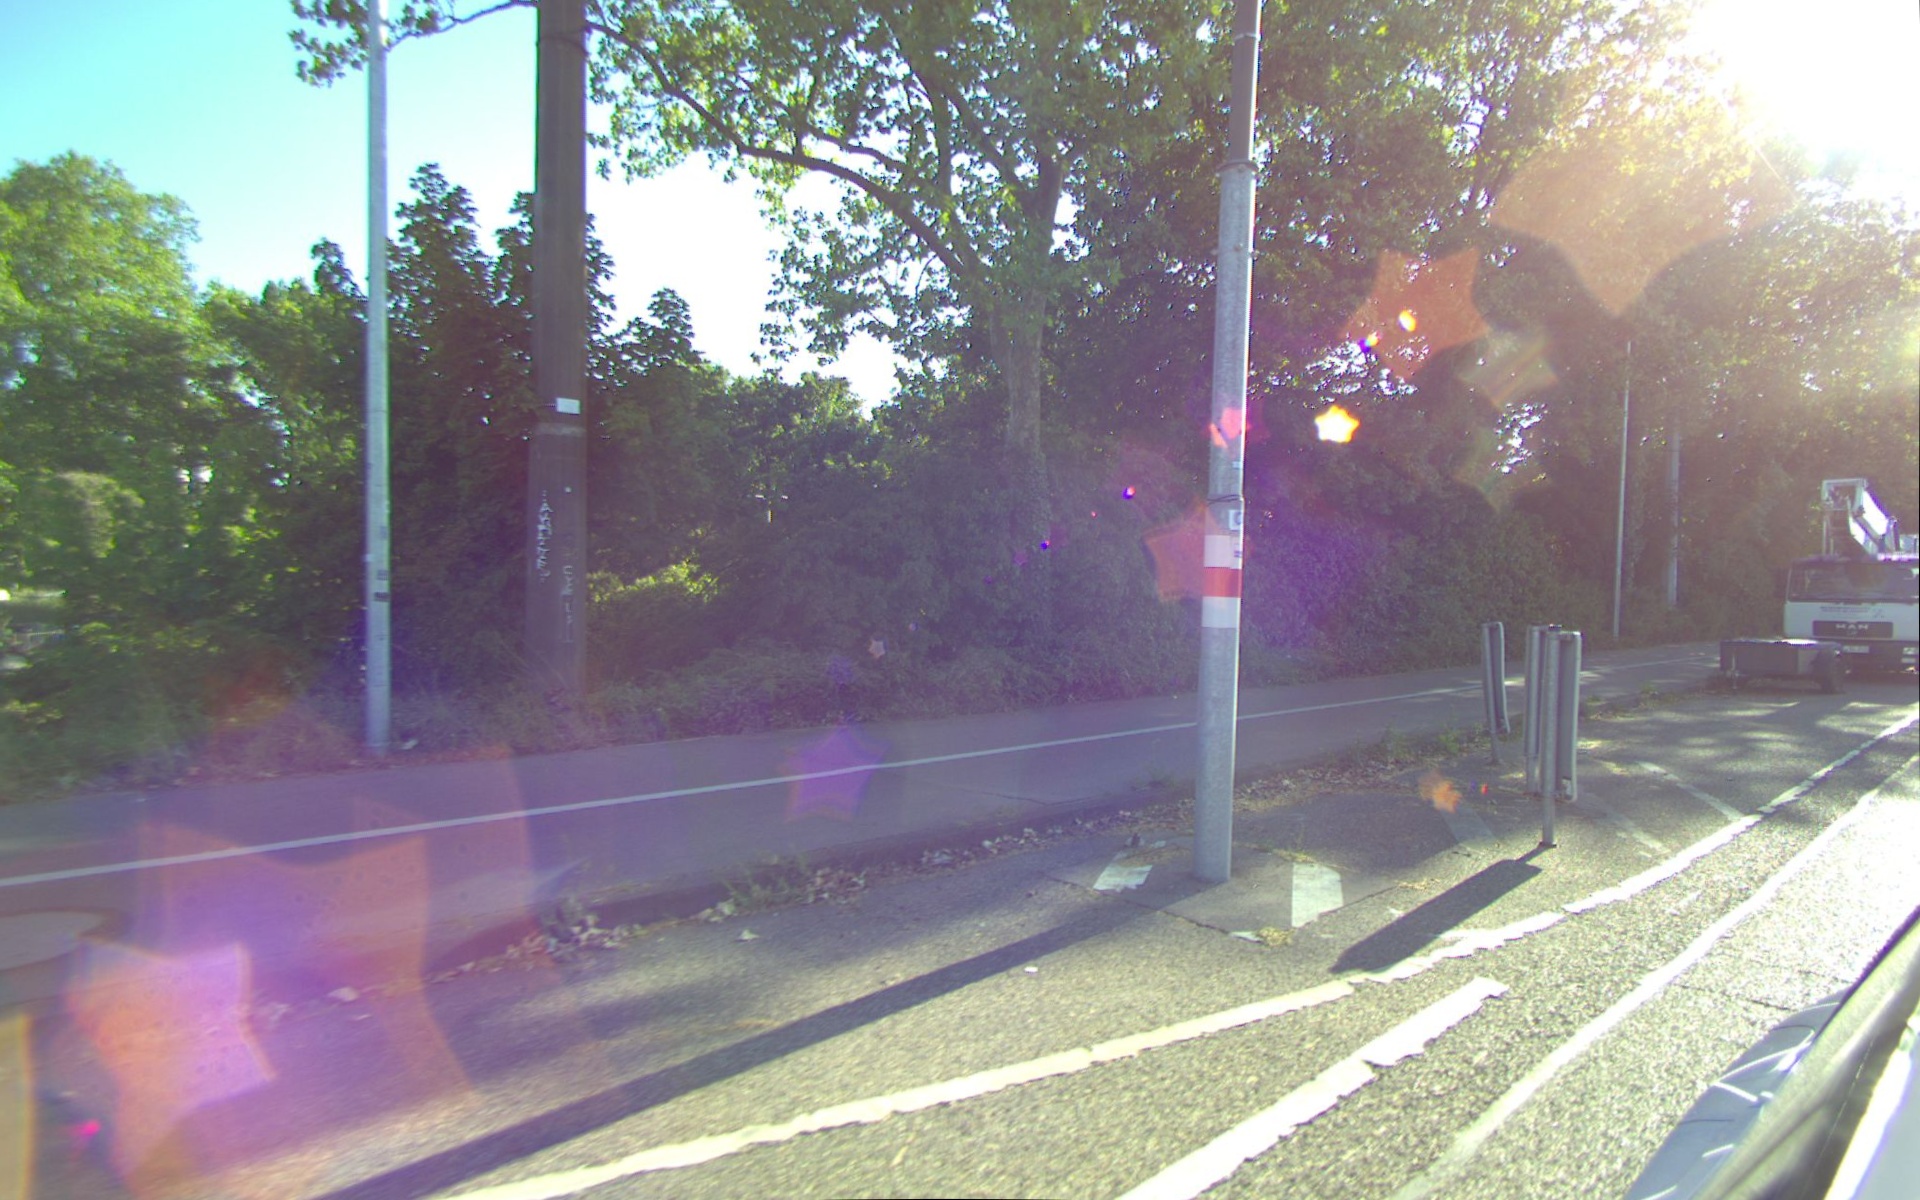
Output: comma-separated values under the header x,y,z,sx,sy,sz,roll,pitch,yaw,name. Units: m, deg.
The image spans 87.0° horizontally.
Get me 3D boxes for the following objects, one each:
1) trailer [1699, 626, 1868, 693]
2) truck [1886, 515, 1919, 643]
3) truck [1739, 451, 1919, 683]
x,y,z,sx,sy,sz,roll,pitch,yaw,name
13.546,0.920,16.586,3.440,0.870,1.579,0,0,-41,trailer
32.901,-0.644,33.113,9.913,3.831,2.746,0,0,-41,truck
18.756,-0.557,20.651,9.591,3.831,2.721,0,0,-41,truck
